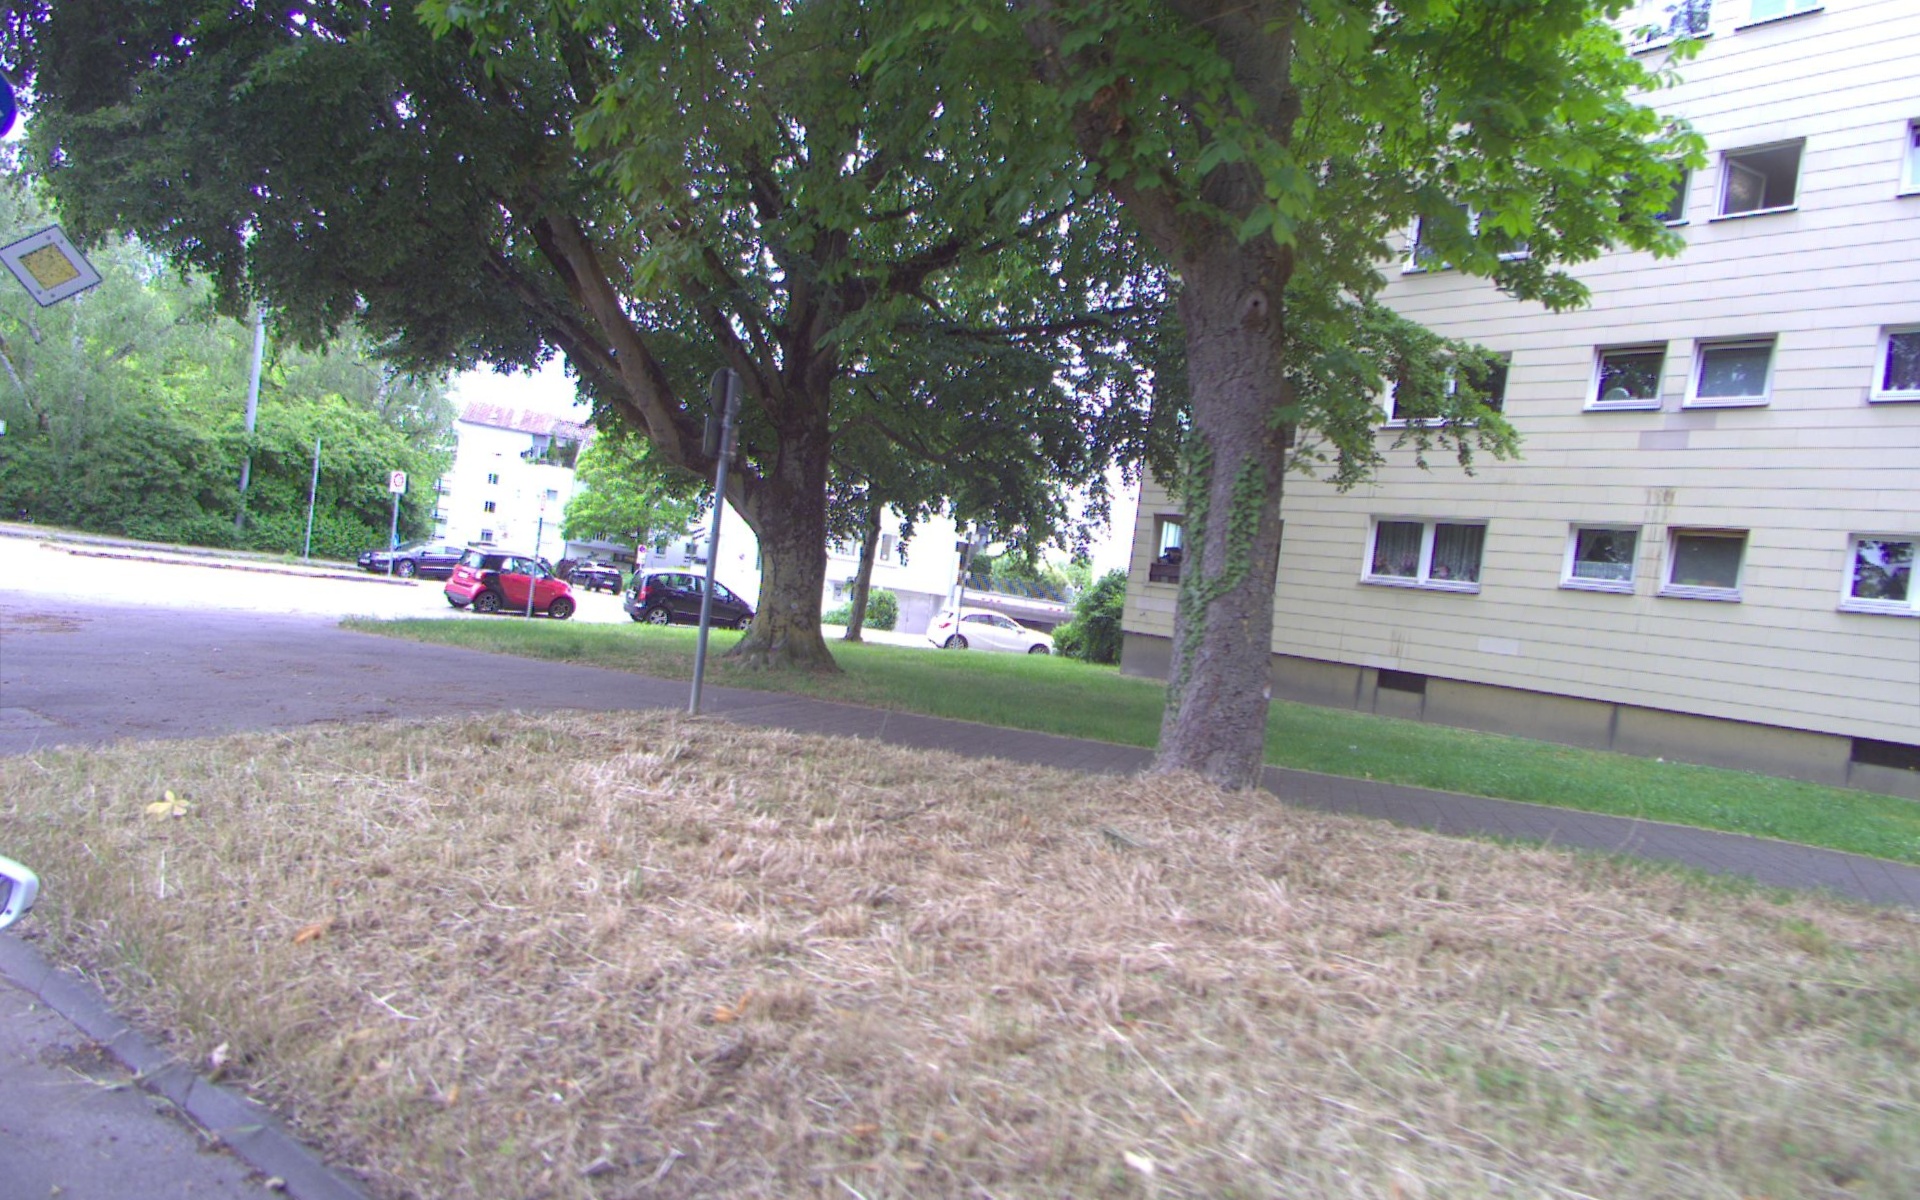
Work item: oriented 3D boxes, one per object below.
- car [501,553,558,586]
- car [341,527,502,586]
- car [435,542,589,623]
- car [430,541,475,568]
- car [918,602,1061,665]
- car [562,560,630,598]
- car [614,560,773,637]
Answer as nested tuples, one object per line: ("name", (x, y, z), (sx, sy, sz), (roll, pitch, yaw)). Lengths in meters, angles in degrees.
("car", (-25.951, -1.836, 60.544), (1.922, 1.563, 4.017), (7, -1, -41))
("car", (-19.408, -1.513, 36.486), (2.003, 1.456, 4.797), (7, -1, 26))
("car", (-11.053, -0.415, 24.925), (1.670, 1.524, 2.912), (8, 0, 37))
("car", (-37.108, -3.327, 73.535), (1.922, 1.563, 4.017), (7, -1, -41))
("car", (0.886, 1.048, 31.403), (4.007, 1.452, 1.789), (6, 1, -14))
("car", (-19.105, -1.106, 52.712), (1.922, 1.563, 4.017), (7, -1, -41))
("car", (-7.430, -0.028, 28.118), (3.789, 1.610, 1.803), (8, -1, -33))
